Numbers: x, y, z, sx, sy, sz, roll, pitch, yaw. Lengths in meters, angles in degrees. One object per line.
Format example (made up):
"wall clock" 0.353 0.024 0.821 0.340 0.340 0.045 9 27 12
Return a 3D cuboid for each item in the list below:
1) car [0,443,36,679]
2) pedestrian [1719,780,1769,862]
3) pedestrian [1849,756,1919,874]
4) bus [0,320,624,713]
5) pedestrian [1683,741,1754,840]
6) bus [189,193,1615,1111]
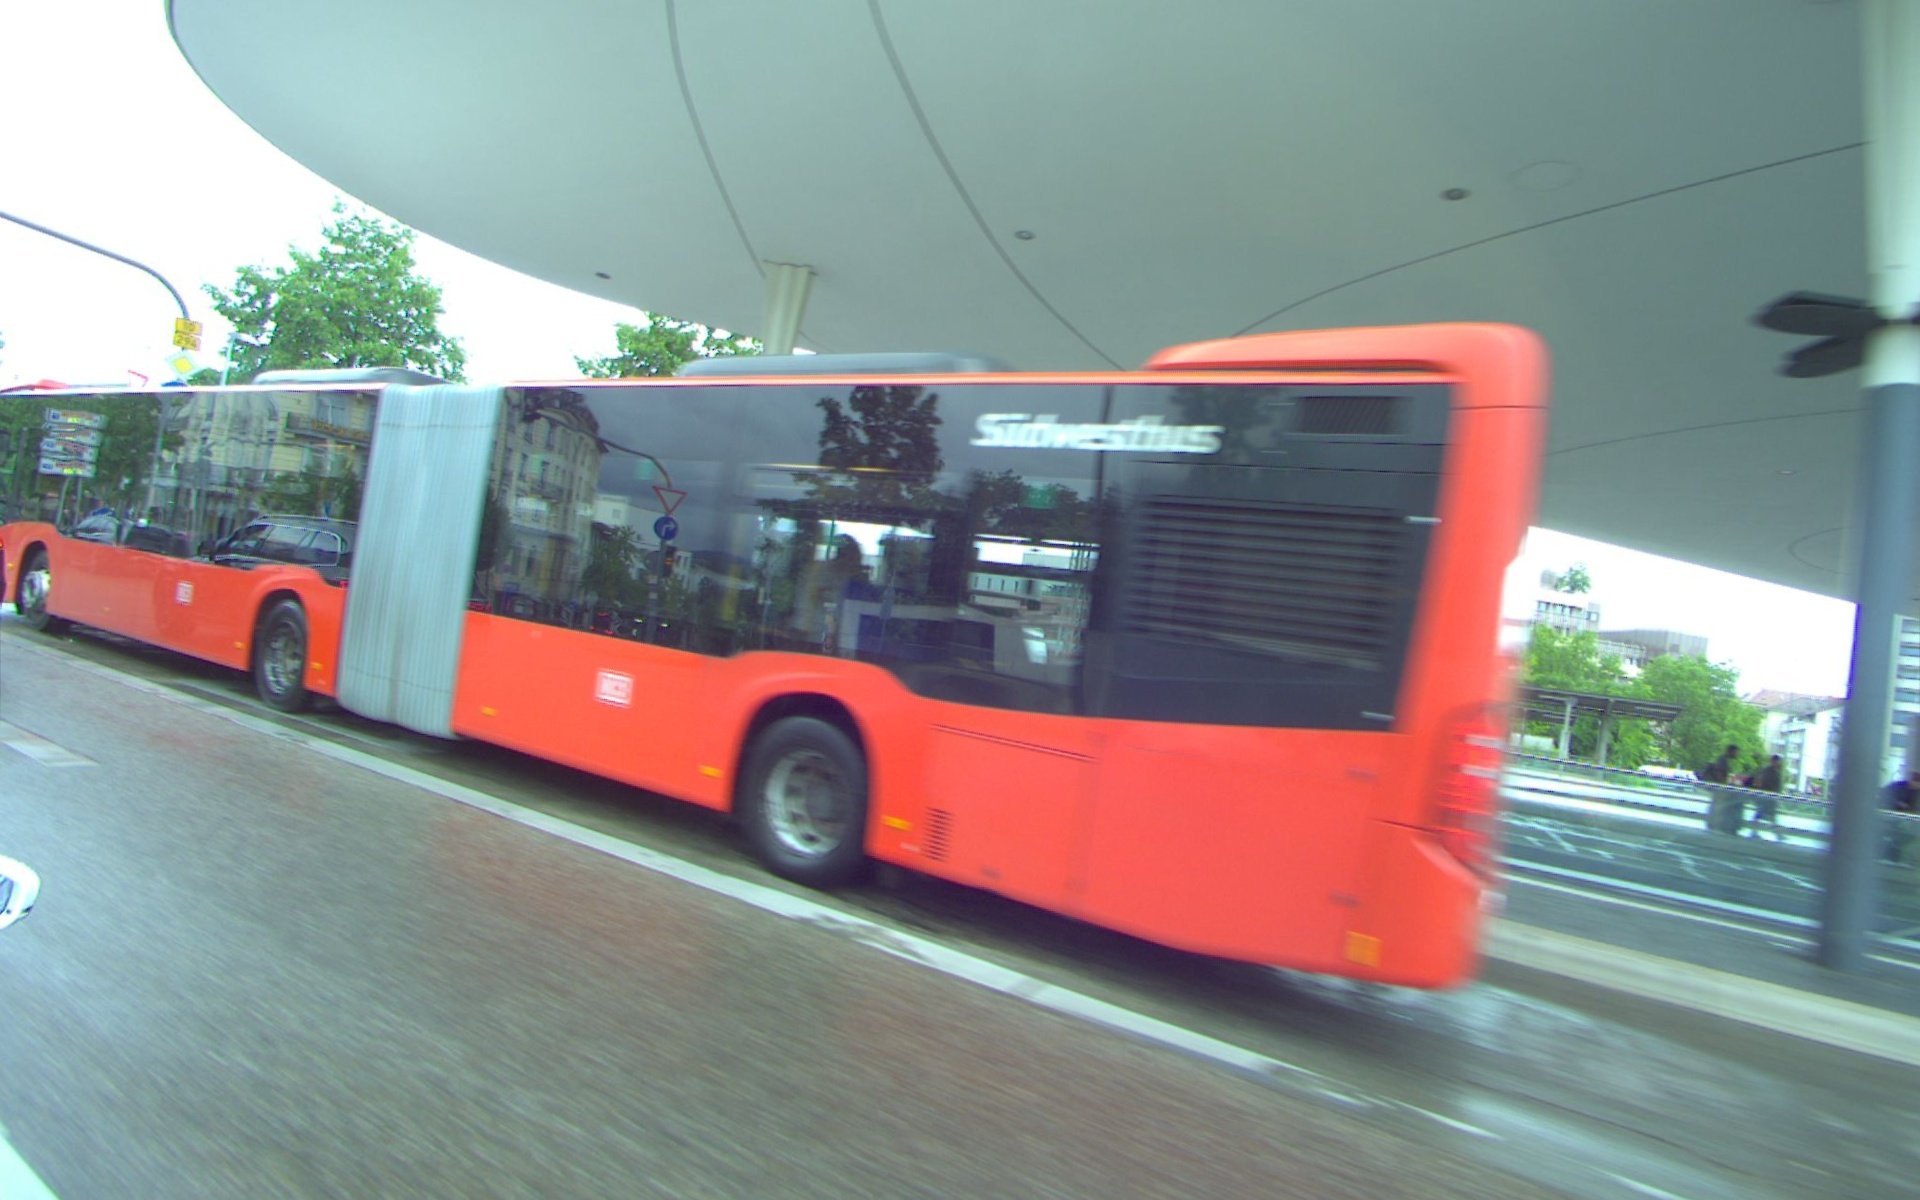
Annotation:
"car" -10.226 -0.622 8.655 4.792 1.898 1.961 7 -1 31
"pedestrian" 14.639 4.117 18.793 0.469 1.403 0.559 10 -7 -24
"pedestrian" 15.285 3.495 16.377 0.755 1.730 0.708 7 3 -17
"bus" -8.533 -0.981 12.247 8.702 3.326 3.298 7 -2 32
"pedestrian" 13.582 3.388 18.039 0.698 1.599 0.600 9 -2 22
"bus" -1.521 -0.168 7.853 10.697 3.329 3.293 7 -2 32
